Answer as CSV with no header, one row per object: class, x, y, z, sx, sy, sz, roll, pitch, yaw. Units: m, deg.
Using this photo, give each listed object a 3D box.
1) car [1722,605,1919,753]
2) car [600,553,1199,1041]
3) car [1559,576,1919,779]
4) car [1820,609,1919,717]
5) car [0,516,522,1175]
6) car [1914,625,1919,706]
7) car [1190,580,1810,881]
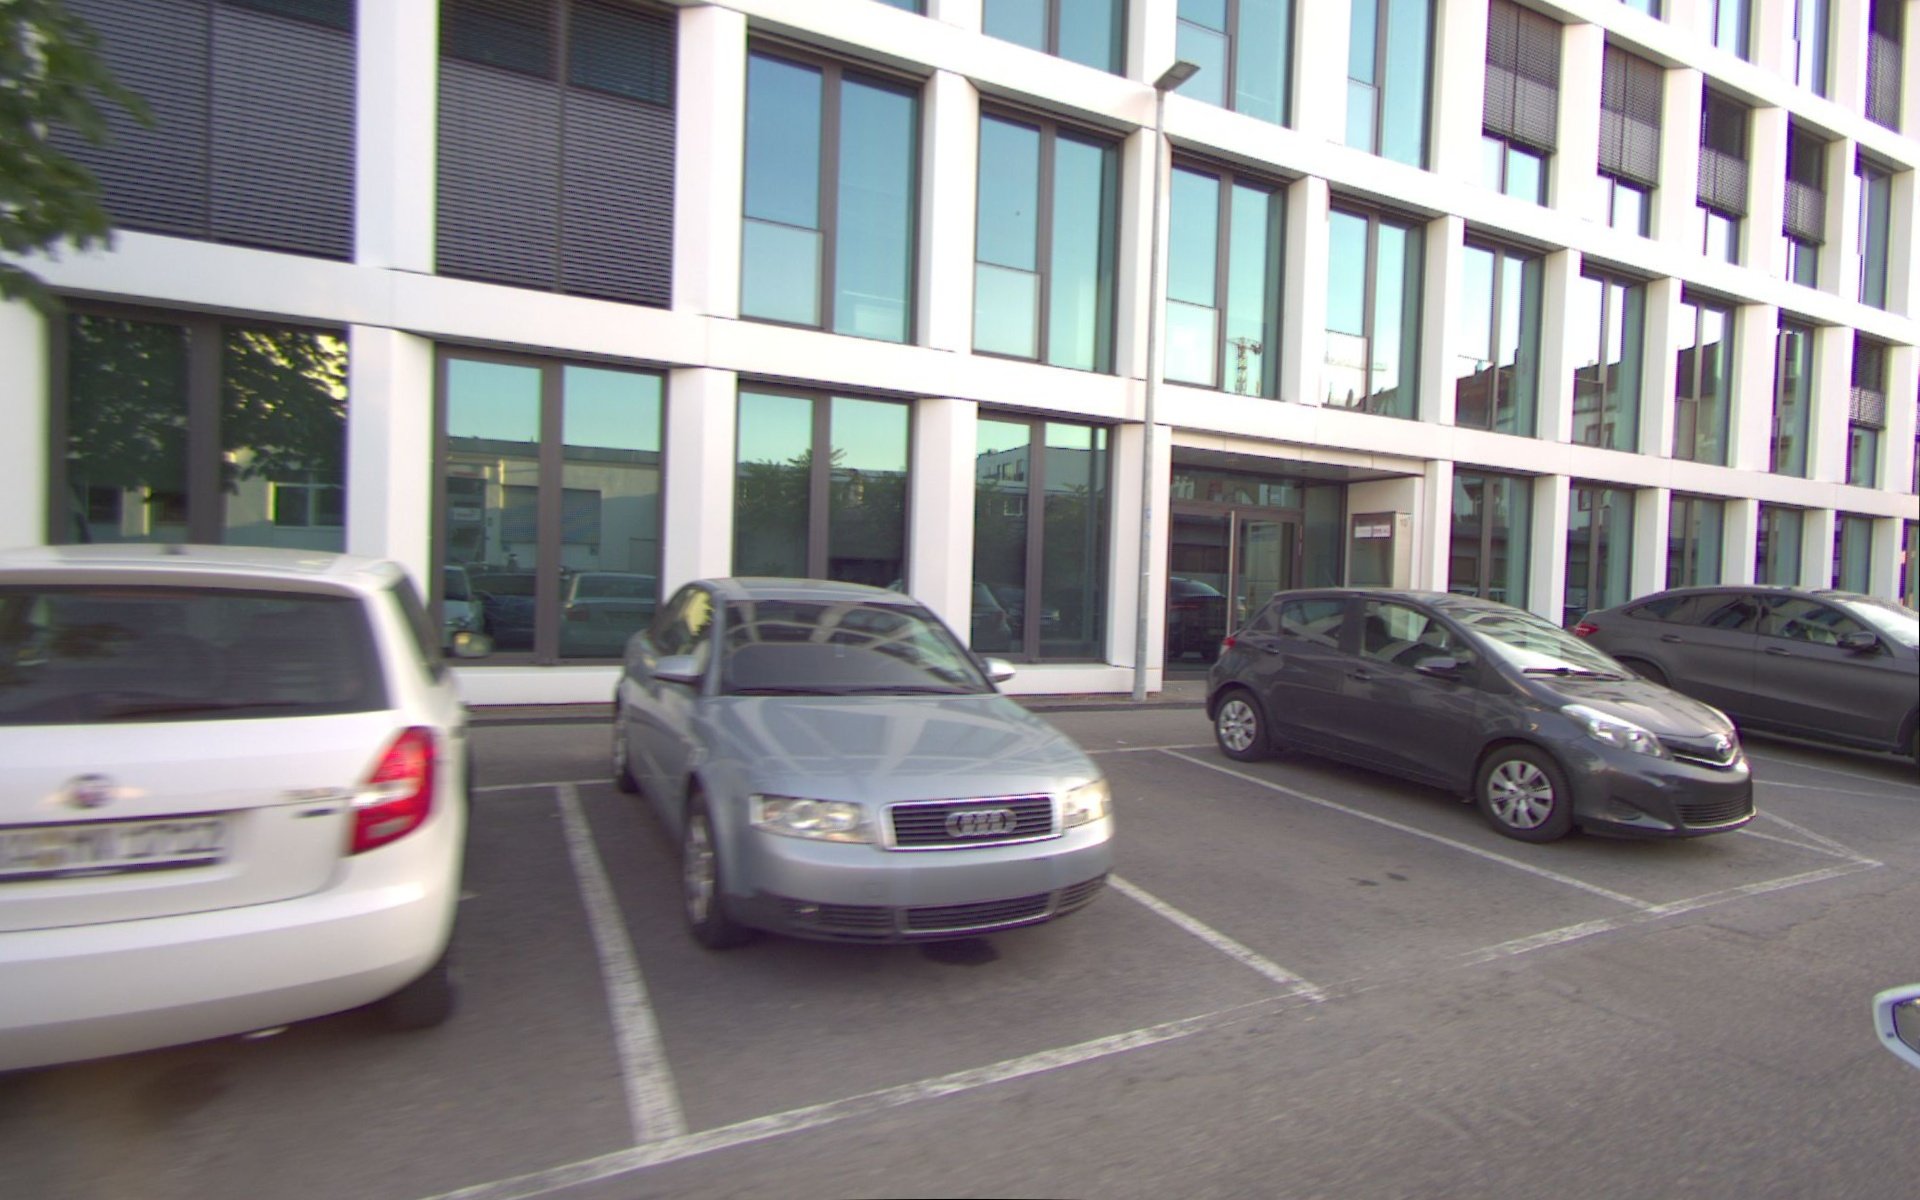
car,11.302,0.927,11.557,1.672,1.532,3.657,1,2,-23
car,-0.802,0.540,5.441,1.770,1.516,4.294,1,2,-25
car,9.030,0.699,10.328,1.976,1.729,4.607,1,2,-23
car,15.328,1.017,14.546,1.772,1.532,3.951,1,2,-25
car,-2.796,0.488,4.049,1.685,1.516,3.694,1,2,-27
car,17.588,1.110,15.582,1.665,1.532,3.641,1,2,-26
car,3.660,0.692,7.539,1.672,1.543,3.765,1,2,-28
